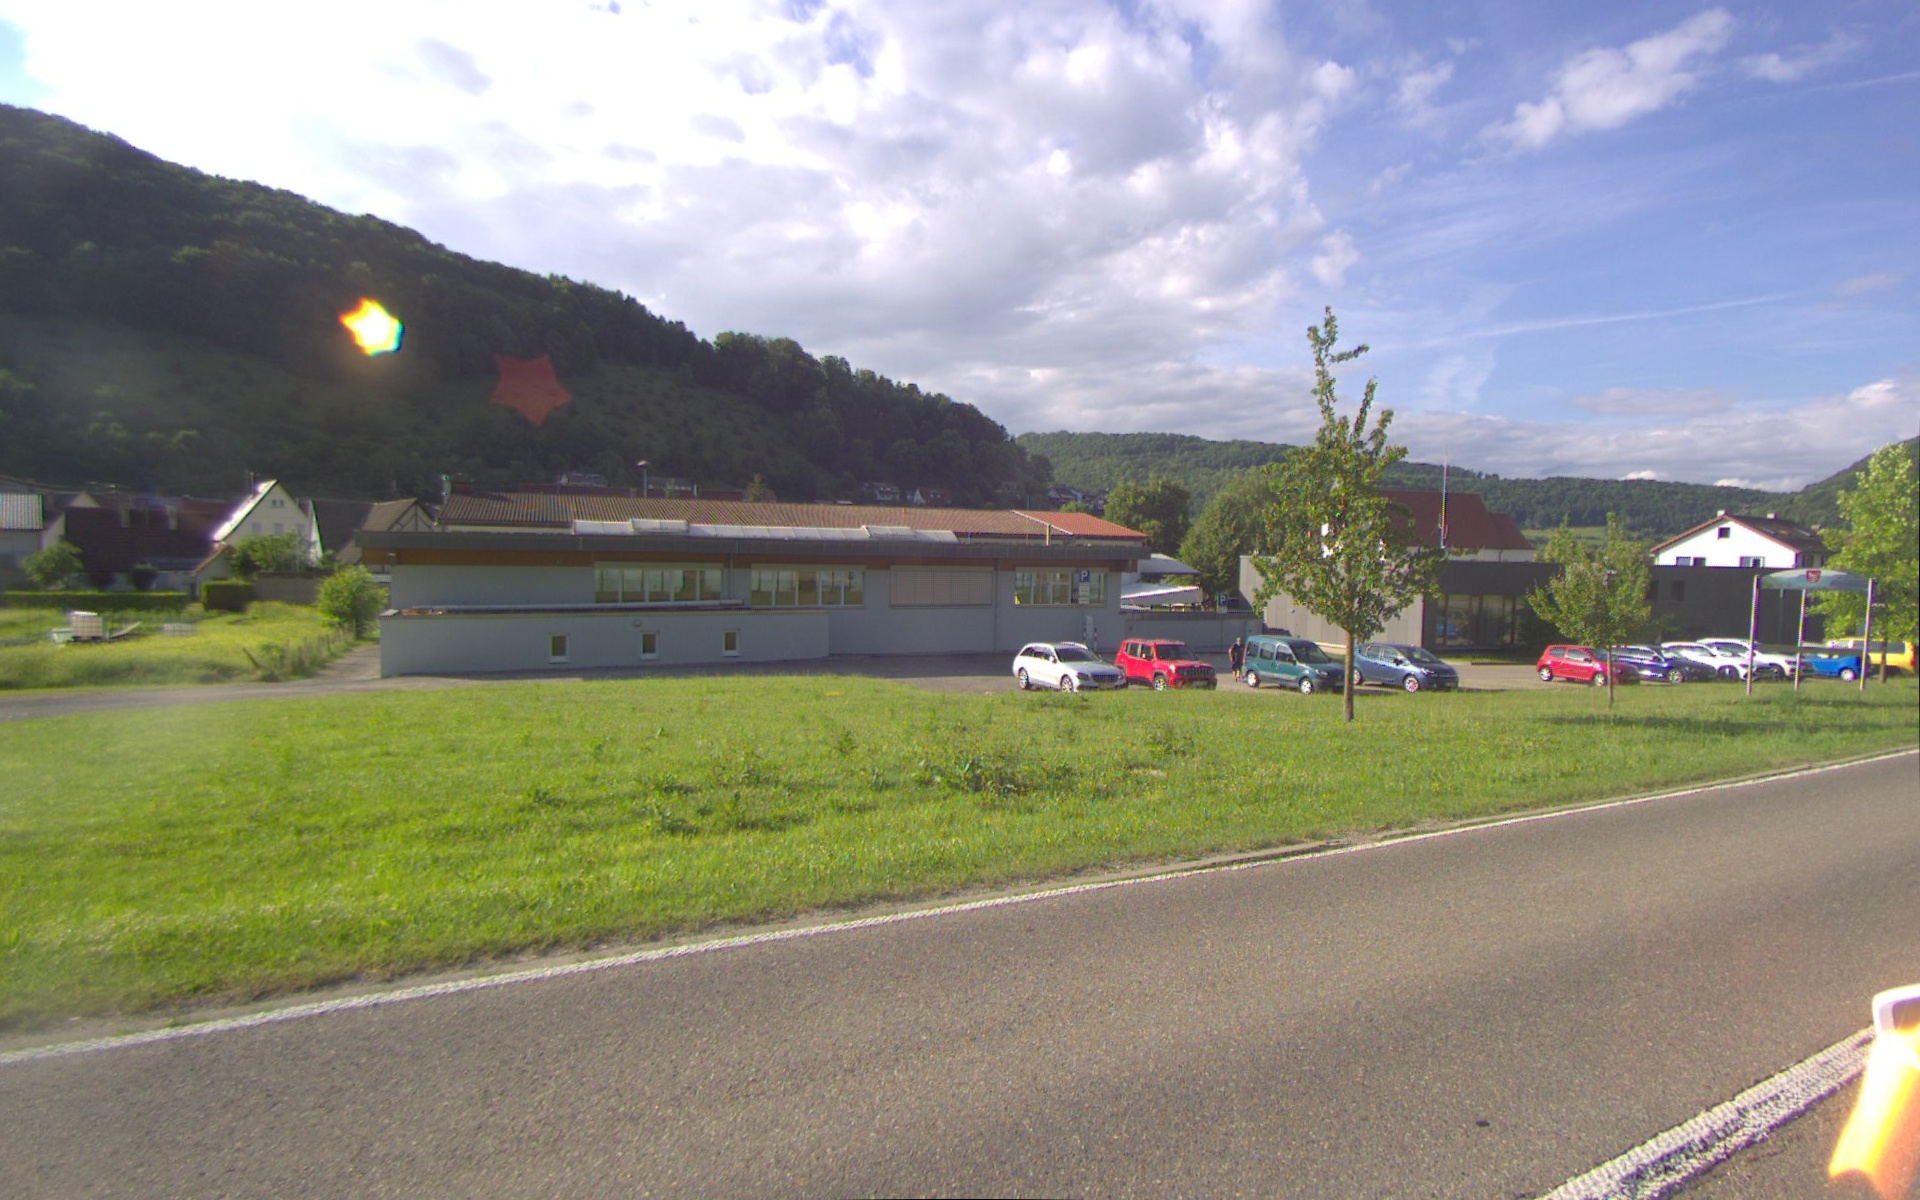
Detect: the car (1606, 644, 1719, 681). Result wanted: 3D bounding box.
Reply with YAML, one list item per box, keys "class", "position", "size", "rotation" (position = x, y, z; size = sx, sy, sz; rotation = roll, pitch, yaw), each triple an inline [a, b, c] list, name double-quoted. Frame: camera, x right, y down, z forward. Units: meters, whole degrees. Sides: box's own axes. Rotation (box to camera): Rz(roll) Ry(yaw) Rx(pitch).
- class: "car"
  position: [29.168, 2.564, 41.837]
  size: [1.573, 1.423, 3.618]
  rotation: [1, -2, -22]

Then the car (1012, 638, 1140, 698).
- class: "car"
  position: [3.527, 2.075, 31.447]
  size: [1.971, 1.610, 4.631]
  rotation: [1, -1, -22]

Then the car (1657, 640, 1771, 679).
- class: "car"
  position: [32.266, 2.534, 43.084]
  size: [1.573, 1.513, 3.659]
  rotation: [2, -1, -22]

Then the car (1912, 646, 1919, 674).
- class: "car"
  position: [52.080, 3.150, 52.087]
  size: [1.487, 1.458, 3.706]
  rotation: [1, -2, -22]

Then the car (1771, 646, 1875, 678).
- class: "car"
  position: [40.487, 2.875, 47.198]
  size: [1.640, 1.391, 3.354]
  rotation: [2, -2, -29]

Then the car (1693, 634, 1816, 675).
- class: "car"
  position: [35.197, 2.377, 44.625]
  size: [1.573, 1.695, 4.070]
  rotation: [1, -2, -22]

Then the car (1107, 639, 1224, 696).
- class: "car"
  position: [6.431, 2.081, 31.811]
  size: [1.731, 1.600, 3.911]
  rotation: [1, -1, -23]

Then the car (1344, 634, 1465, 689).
- class: "car"
  position: [15.706, 2.133, 35.690]
  size: [1.707, 1.744, 3.810]
  rotation: [1, -1, -23]

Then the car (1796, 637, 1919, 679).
- class: "car"
  position: [42.999, 2.731, 47.861]
  size: [1.814, 1.838, 4.545]
  rotation: [1, -2, -22]

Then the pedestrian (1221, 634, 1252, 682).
- class: "pedestrian"
  position: [10.246, 2.149, 37.203]
  size: [0.696, 1.716, 0.791]
  rotation: [1, 1, -28]

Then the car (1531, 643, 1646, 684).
- class: "car"
  position: [24.841, 2.477, 39.825]
  size: [1.624, 1.463, 3.618]
  rotation: [1, -2, -22]

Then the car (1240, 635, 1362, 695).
- class: "car"
  position: [11.477, 2.142, 34.062]
  size: [1.732, 1.745, 3.850]
  rotation: [1, 0, -25]
